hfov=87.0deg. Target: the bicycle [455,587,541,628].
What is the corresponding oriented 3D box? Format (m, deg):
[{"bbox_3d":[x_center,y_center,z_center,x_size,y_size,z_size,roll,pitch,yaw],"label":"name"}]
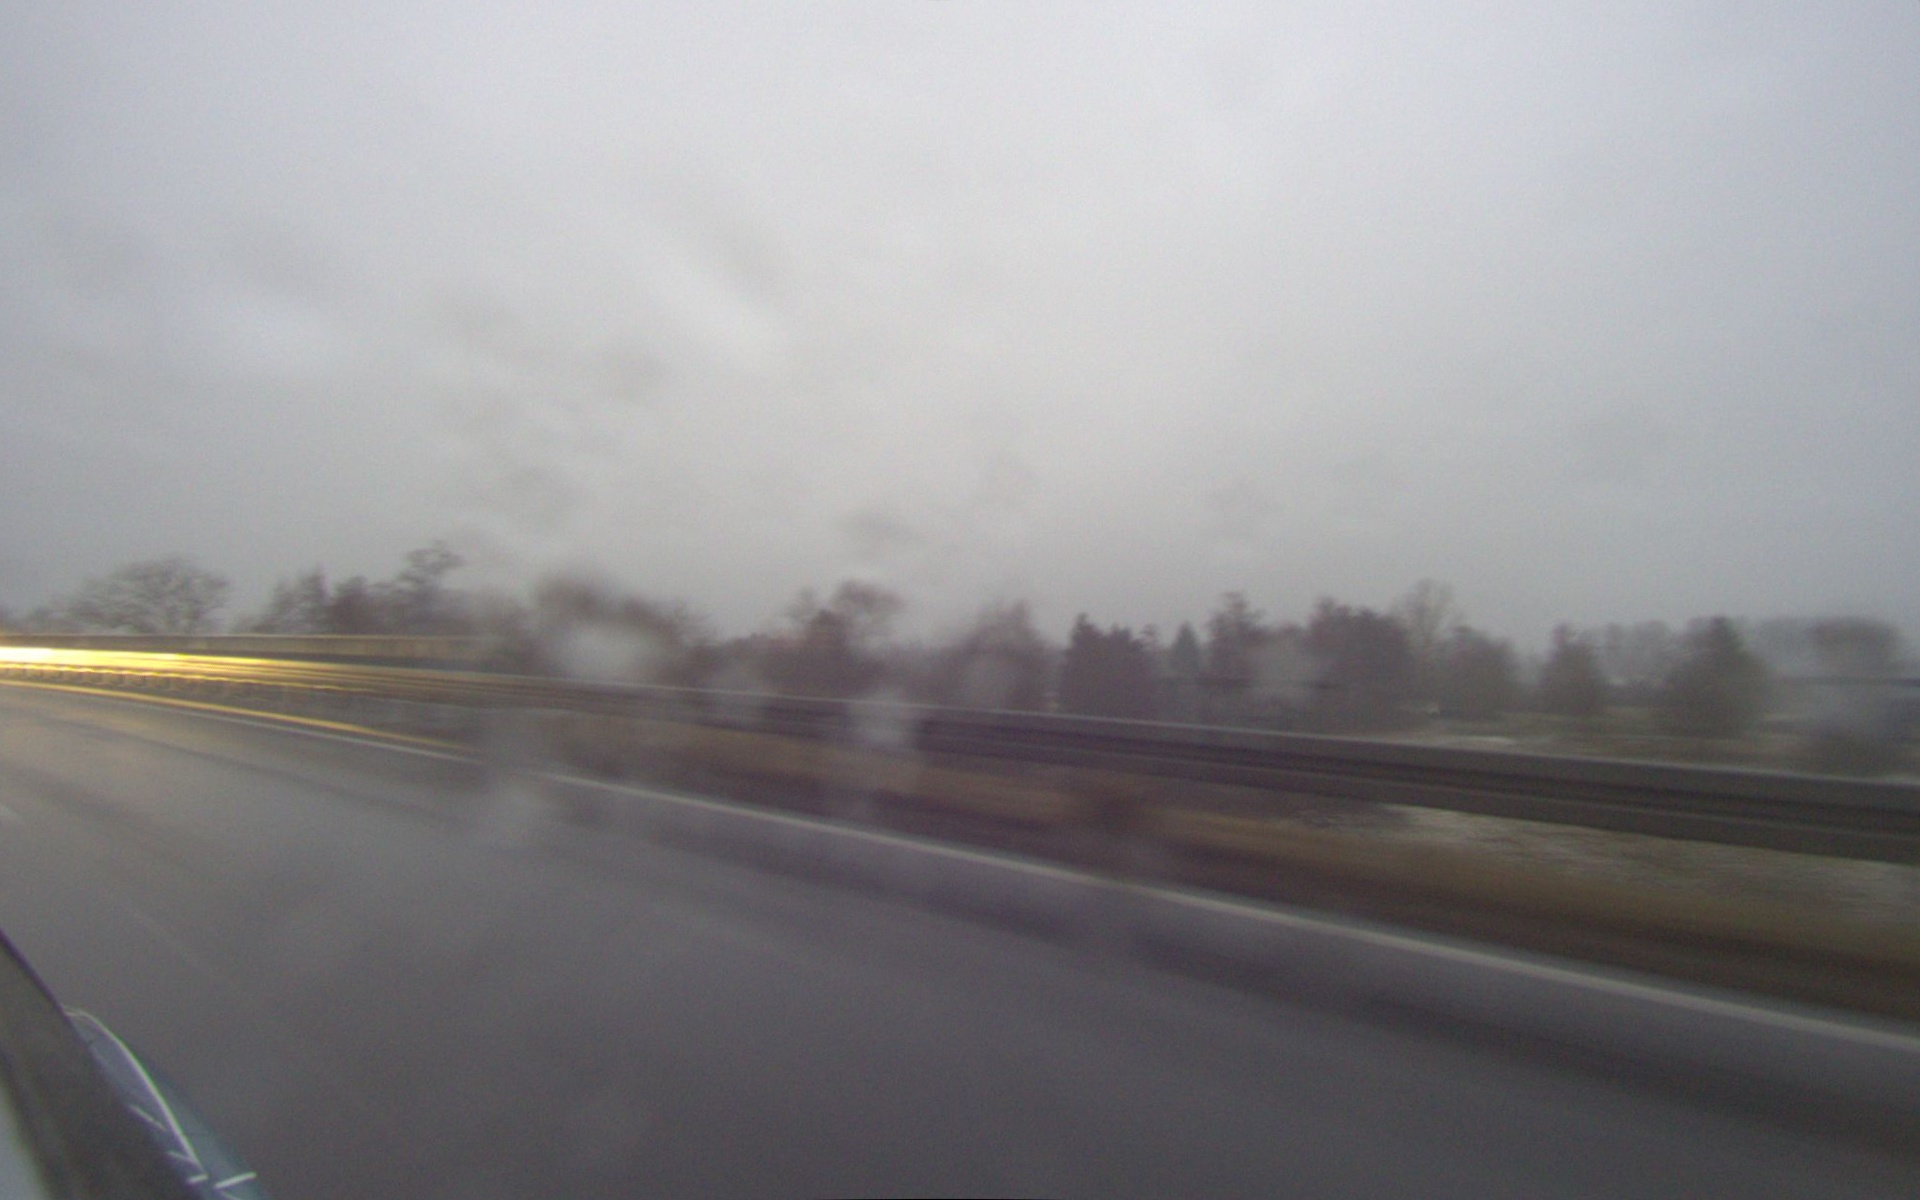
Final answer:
[{"bbox_3d":[-23.770,0.416,52.048,3.978,2.029,1.983,-1,-1,26],"label":"bicycle"}]
